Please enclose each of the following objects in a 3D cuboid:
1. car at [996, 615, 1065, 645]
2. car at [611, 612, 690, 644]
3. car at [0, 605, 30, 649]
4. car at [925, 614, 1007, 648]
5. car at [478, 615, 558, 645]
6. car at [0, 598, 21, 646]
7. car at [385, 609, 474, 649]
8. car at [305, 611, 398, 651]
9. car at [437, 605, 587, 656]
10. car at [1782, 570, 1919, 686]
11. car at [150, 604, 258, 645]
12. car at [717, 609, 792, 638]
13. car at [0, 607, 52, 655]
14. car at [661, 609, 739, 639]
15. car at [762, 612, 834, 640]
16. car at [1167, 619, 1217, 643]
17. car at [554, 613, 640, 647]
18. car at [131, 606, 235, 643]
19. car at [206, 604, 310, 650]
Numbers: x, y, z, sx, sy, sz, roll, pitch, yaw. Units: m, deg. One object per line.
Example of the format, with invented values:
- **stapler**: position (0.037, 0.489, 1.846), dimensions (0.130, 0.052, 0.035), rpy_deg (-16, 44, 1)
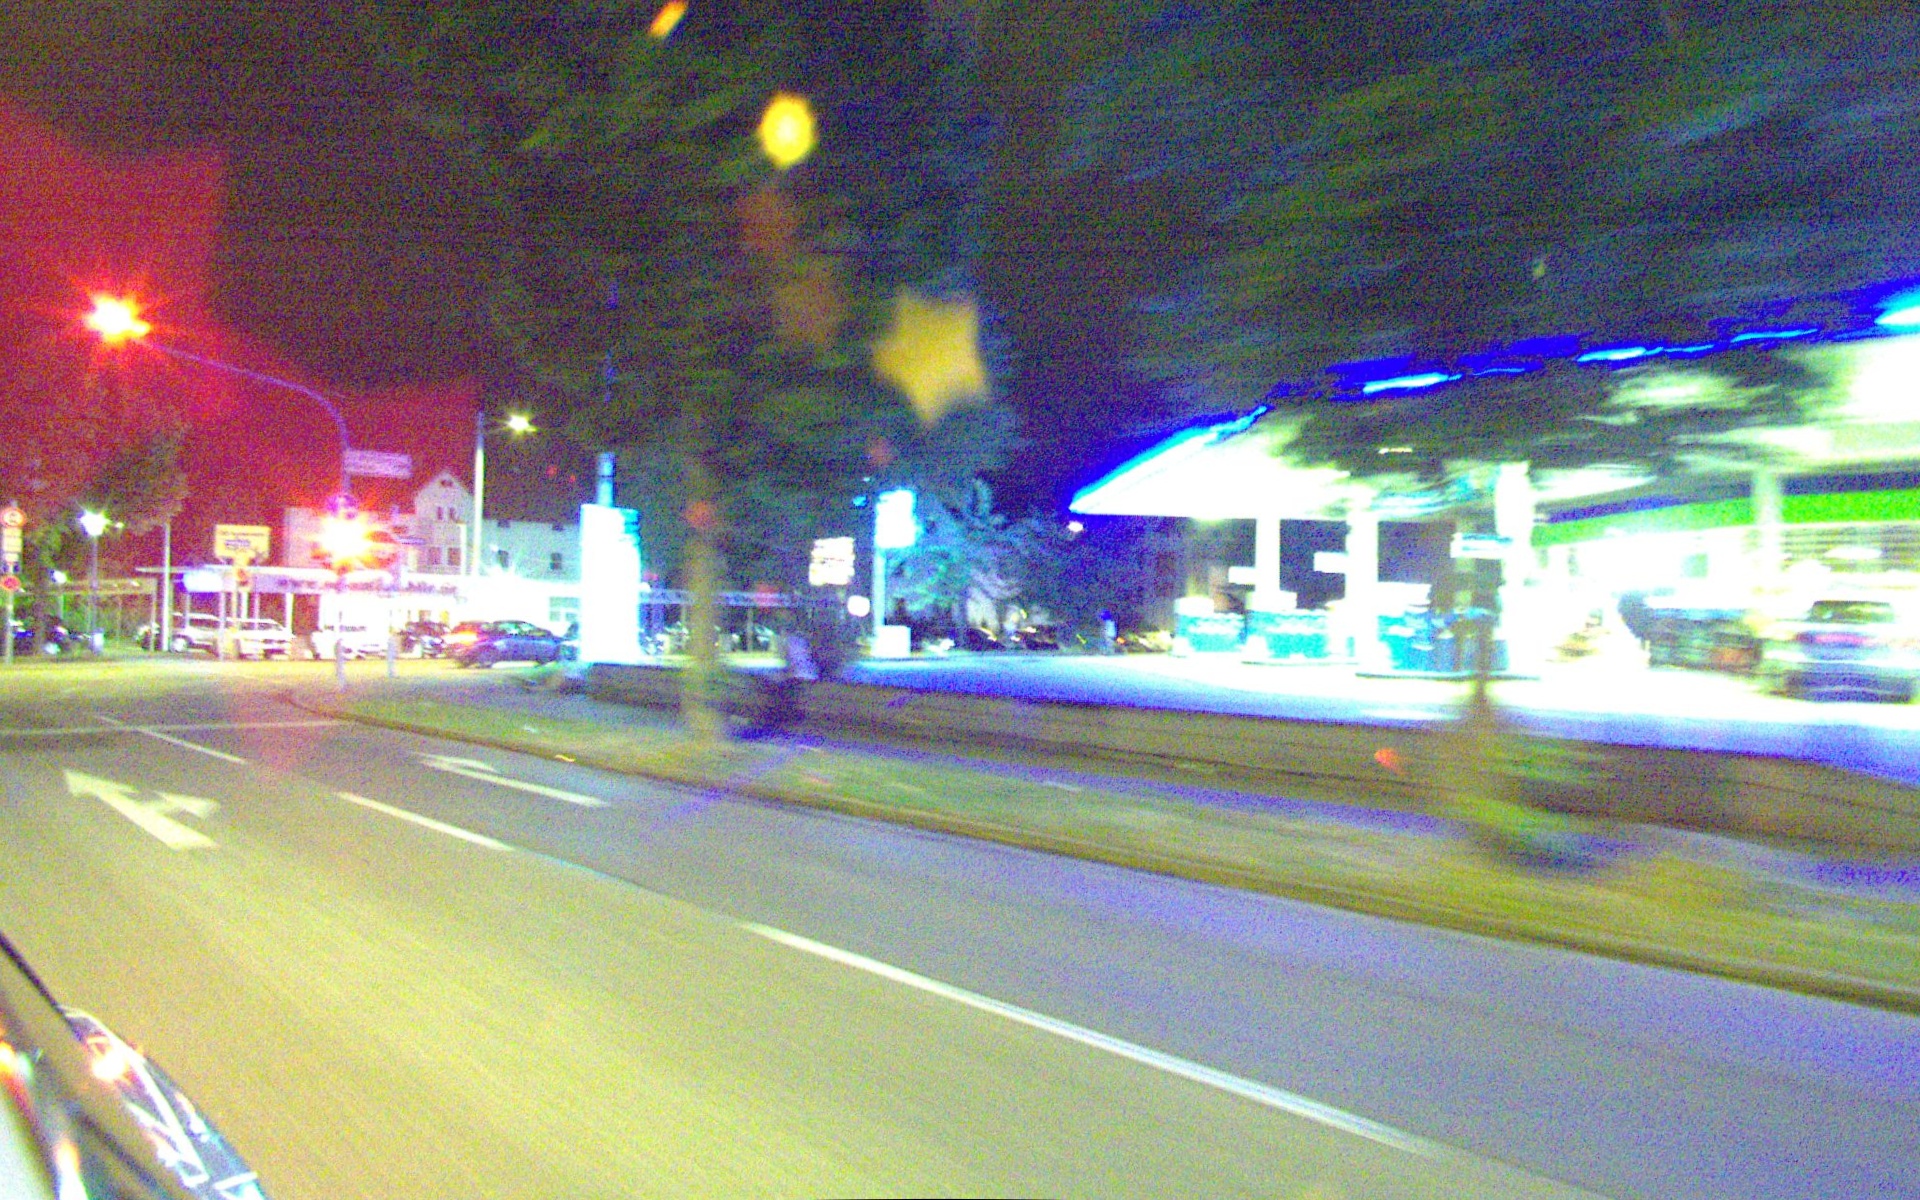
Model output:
- **car**: position (3.495, 1.440, 49.878), dimensions (1.680, 1.422, 3.525), rpy_deg (-1, -1, 38)
- **car**: position (-15.036, 1.338, 49.151), dimensions (4.083, 1.489, 1.710), rpy_deg (-1, -2, 40)
- **car**: position (-37.057, 0.976, 37.508), dimensions (1.618, 1.641, 3.533), rpy_deg (0, -2, 37)
- **car**: position (0.298, 1.373, 45.706), dimensions (1.735, 1.422, 3.803), rpy_deg (-1, -1, 38)
- **car**: position (-23.332, 1.569, 53.598), dimensions (1.716, 1.489, 4.257), rpy_deg (0, -1, 12)
- **car**: position (-38.963, 0.801, 38.861), dimensions (1.631, 1.905, 4.006), rpy_deg (0, -2, 37)
- **car**: position (-21.764, 1.148, 41.473), dimensions (4.066, 1.565, 1.840), rpy_deg (-1, -1, 40)
- **car**: position (-23.477, 1.167, 39.004), dimensions (4.066, 1.472, 1.840), rpy_deg (-1, -2, 40)
- **car**: position (-14.721, 0.953, 33.429), dimensions (1.686, 1.571, 4.256), rpy_deg (-1, -1, 42)
- **car**: position (15.249, 0.436, 17.187), dimensions (1.977, 1.740, 4.302), rpy_deg (-1, -1, 39)
- **car**: position (-33.578, 1.106, 44.997), dimensions (1.633, 1.712, 3.530), rpy_deg (0, -3, 40)
- **car**: position (-10.908, 1.243, 53.648), dimensions (4.024, 1.489, 1.759), rpy_deg (-1, -1, 40)
- **car**: position (-33.345, 1.024, 34.184), dimensions (1.631, 1.598, 3.718), rpy_deg (0, -2, 37)
- **car**: position (-13.270, 1.217, 51.533), dimensions (4.083, 1.489, 1.840), rpy_deg (-1, -1, 40)
- **car**: position (-8.948, 1.397, 55.859), dimensions (3.955, 1.489, 1.743), rpy_deg (-1, -1, 40)
- **car**: position (14.585, 1.943, 63.496), dimensions (1.680, 1.422, 3.525), rpy_deg (0, -1, 38)
- **car**: position (-16.945, 1.367, 47.189), dimensions (4.350, 1.489, 1.840), rpy_deg (-1, -1, 40)
- **car**: position (-36.153, 1.156, 47.159), dimensions (1.632, 1.598, 3.532), rpy_deg (0, -3, 38)
- **car**: position (-25.562, 0.963, 36.817), dimensions (4.382, 1.569, 1.974), rpy_deg (-1, -1, 39)
